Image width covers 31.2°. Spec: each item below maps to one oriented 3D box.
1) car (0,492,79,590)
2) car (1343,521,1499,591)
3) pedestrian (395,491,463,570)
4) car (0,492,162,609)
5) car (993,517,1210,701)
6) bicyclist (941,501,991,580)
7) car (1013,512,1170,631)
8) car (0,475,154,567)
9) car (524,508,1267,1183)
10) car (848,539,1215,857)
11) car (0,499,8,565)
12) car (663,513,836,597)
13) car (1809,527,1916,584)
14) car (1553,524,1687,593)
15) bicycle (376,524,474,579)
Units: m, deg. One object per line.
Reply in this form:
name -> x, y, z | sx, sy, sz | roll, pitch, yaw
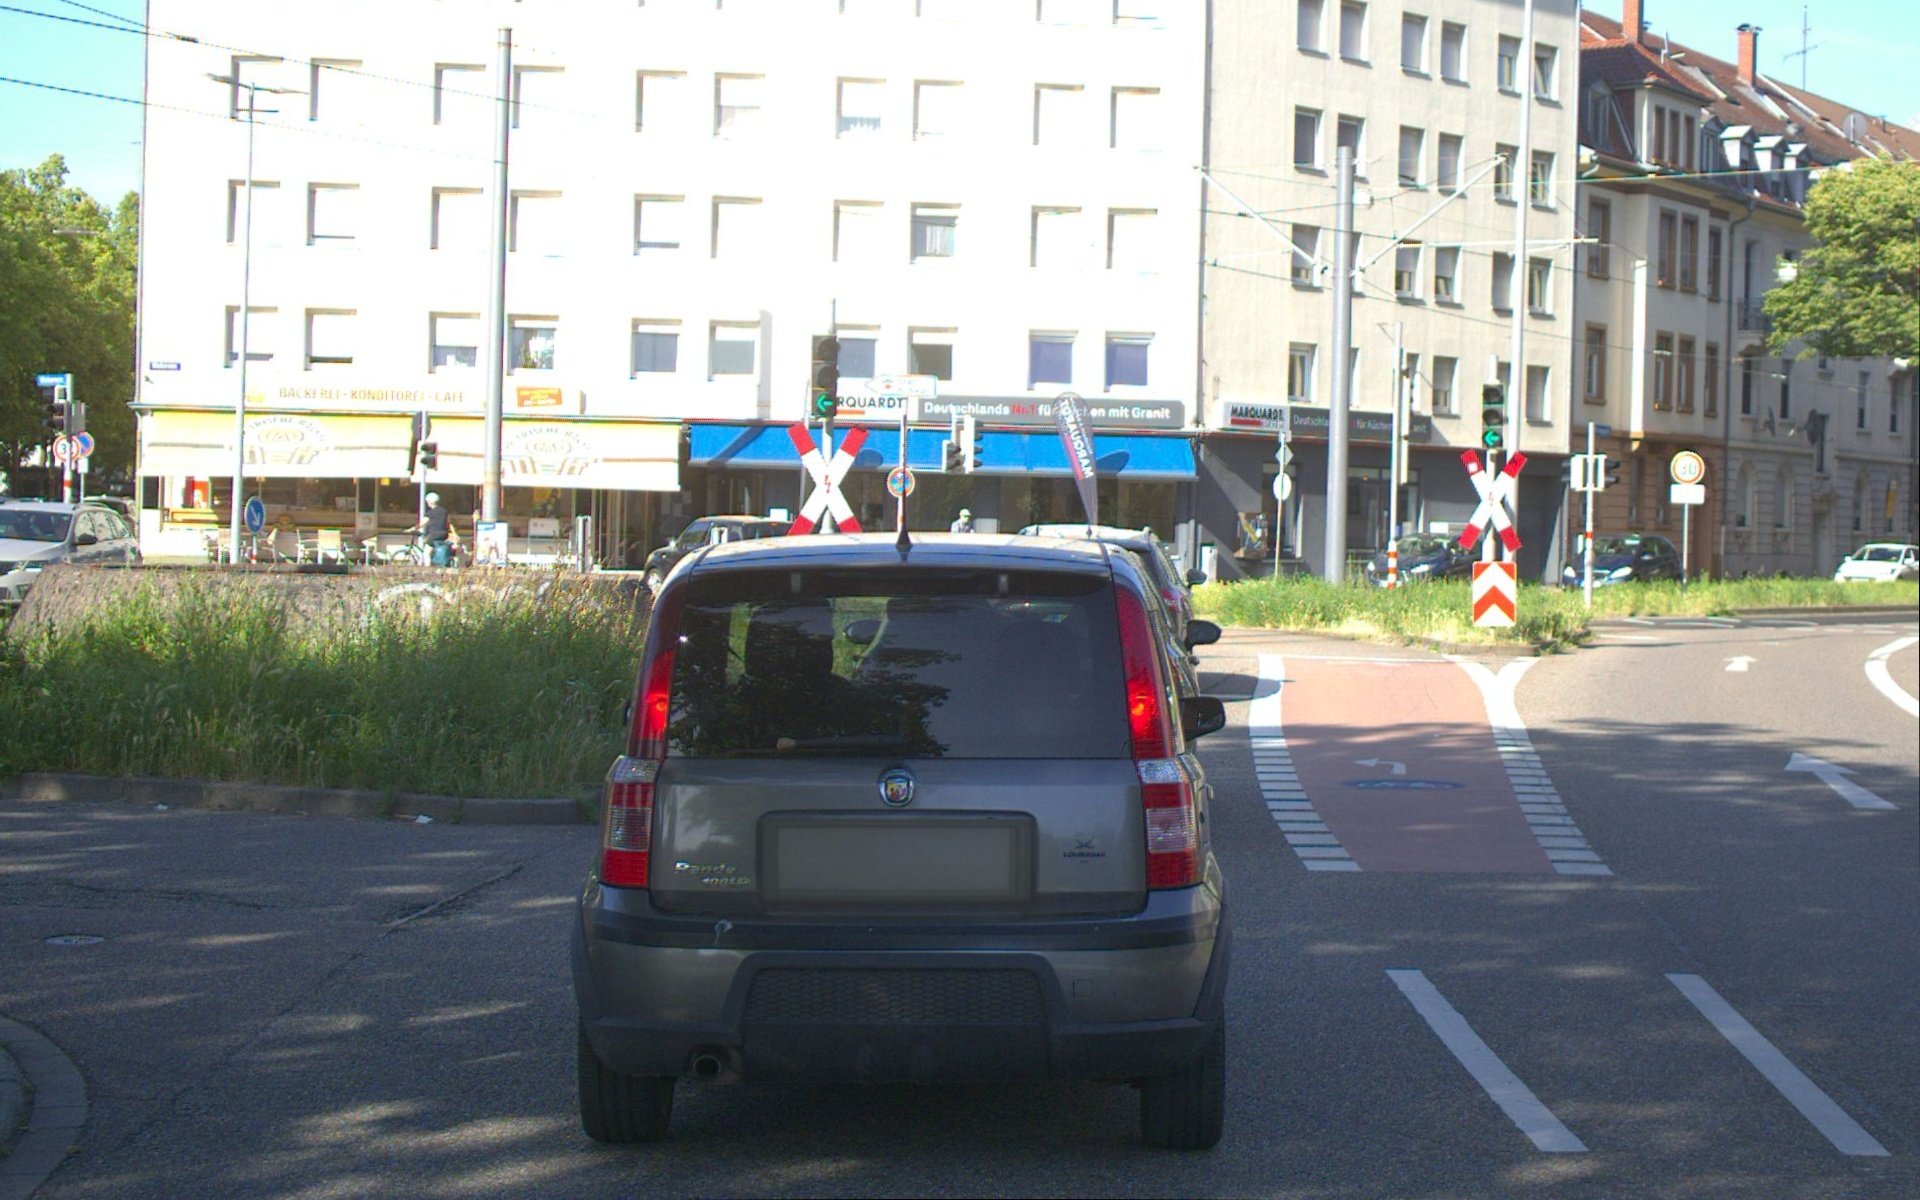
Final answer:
car -> -16.606, -1.026, 56.763 | 3.996, 1.567, 1.995 | 3, 1, 39
car -> 9.710, -0.924, 72.288 | 1.794, 1.391, 3.718 | 2, 2, 33
pedestrian -> -9.960, -1.301, 64.504 | 0.938, 1.423, 0.774 | 3, 0, 43
car -> -12.069, -0.682, 44.972 | 1.663, 1.443, 4.401 | 2, 1, 8
car -> 1.311, 0.025, 30.712 | 1.760, 1.481, 4.293 | 2, 1, 4
bicyclist -> 0.119, -1.201, 68.826 | 0.822, 1.553, 0.561 | 2, 1, 22
car -> 1.666, -0.392, 44.458 | 1.645, 1.433, 3.397 | 1, 1, -4
car -> -16.947, -1.445, 61.716 | 4.376, 1.557, 1.998 | 2, 1, 18
car -> -0.164, 0.524, 9.486 | 1.660, 1.505, 3.252 | 1, 1, -1
car -> 0.275, 0.429, 17.965 | 1.621, 1.424, 3.689 | 1, 1, -3
car -> -20.172, -1.348, 64.682 | 3.986, 1.238, 2.000 | 2, 1, -3
car -> -3.425, -0.738, 55.351 | 1.690, 1.249, 3.627 | 1, 1, -22
car -> 25.003, -1.228, 95.204 | 1.794, 1.477, 3.525 | 2, 2, 33
car -> 15.663, -0.979, 81.519 | 1.794, 1.560, 3.759 | 2, 2, 33
bicycle -> -10.049, -0.915, 64.554 | 1.855, 0.948, 0.783 | 3, 1, 42
